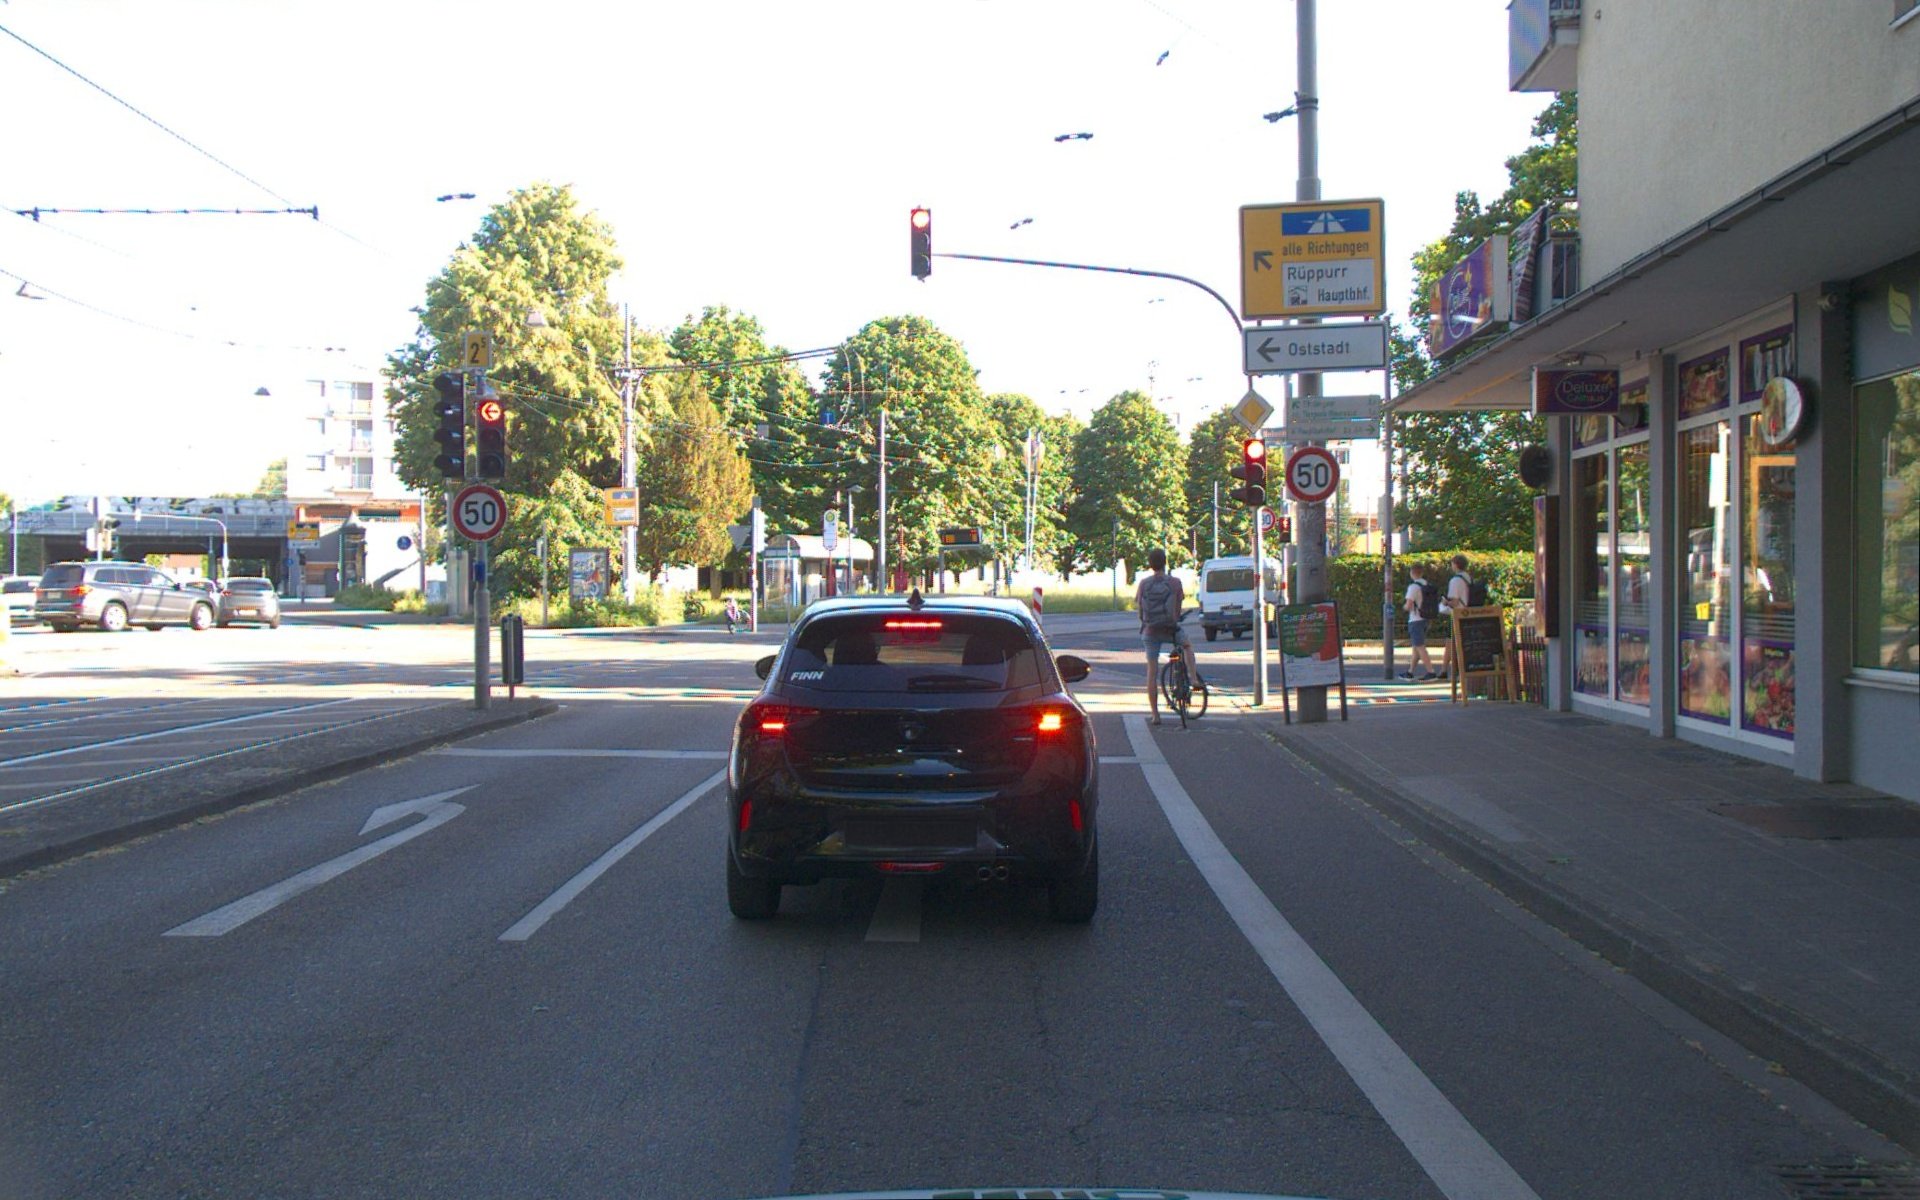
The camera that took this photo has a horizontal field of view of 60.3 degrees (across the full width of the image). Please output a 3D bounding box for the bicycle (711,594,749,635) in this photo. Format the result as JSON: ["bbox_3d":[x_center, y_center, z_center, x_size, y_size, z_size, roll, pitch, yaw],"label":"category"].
[{"bbox_3d":[-6.432,0.395,46.288,0.780,1.083,2.184,0,1,-1],"label":"bicycle"}]

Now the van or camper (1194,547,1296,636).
[{"bbox_3d":[8.048,-0.225,46.361,1.987,2.351,4.540,1,0,20],"label":"van or camper"}]

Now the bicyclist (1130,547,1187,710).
[{"bbox_3d":[2.139,0.294,17.802,0.522,1.722,0.568,0,0,16],"label":"bicyclist"}]

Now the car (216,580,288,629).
[{"bbox_3d":[-23.503,0.132,55.011,1.770,1.545,4.184,1,0,-18],"label":"car"}]

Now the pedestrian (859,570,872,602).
[{"bbox_3d":[-5.562,-0.820,97.588,0.723,1.904,0.661,1,-1,-7],"label":"pedestrian"}]

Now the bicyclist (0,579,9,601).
[{"bbox_3d":[-55.540,-0.568,95.986,0.519,1.244,0.525,0,0,-26],"label":"bicyclist"}]

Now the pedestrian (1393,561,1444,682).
[{"bbox_3d":[6.942,0.320,25.065,0.619,1.794,0.582,1,-1,3],"label":"pedestrian"}]

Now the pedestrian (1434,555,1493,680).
[{"bbox_3d":[7.602,0.258,24.997,0.620,1.852,0.745,1,-1,-3],"label":"pedestrian"}]

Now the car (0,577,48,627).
[{"bbox_3d":[-32.054,0.058,55.787,1.860,1.613,3.809,1,0,-24],"label":"car"}]

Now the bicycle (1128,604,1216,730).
[{"bbox_3d":[2.328,0.689,17.971,0.737,1.256,2.017,0,1,14],"label":"bicycle"}]

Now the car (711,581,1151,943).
[{"bbox_3d":[-0.145,0.647,8.797,1.803,1.487,3.983,0,1,-1],"label":"car"}]

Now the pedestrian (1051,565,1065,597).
[{"bbox_3d":[5.814,-1.127,97.952,0.510,1.904,0.602,0,-1,42],"label":"pedestrian"}]

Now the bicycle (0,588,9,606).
[{"bbox_3d":[-55.568,-0.165,96.041,0.519,0.999,1.563,0,1,-26],"label":"bicycle"}]

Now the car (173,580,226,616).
[{"bbox_3d":[-34.366,-0.091,74.692,1.967,1.579,4.160,1,0,-27],"label":"car"}]

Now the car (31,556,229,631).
[{"bbox_3d":[-22.438,-0.194,44.941,1.869,1.914,4.847,0,1,20],"label":"car"}]
